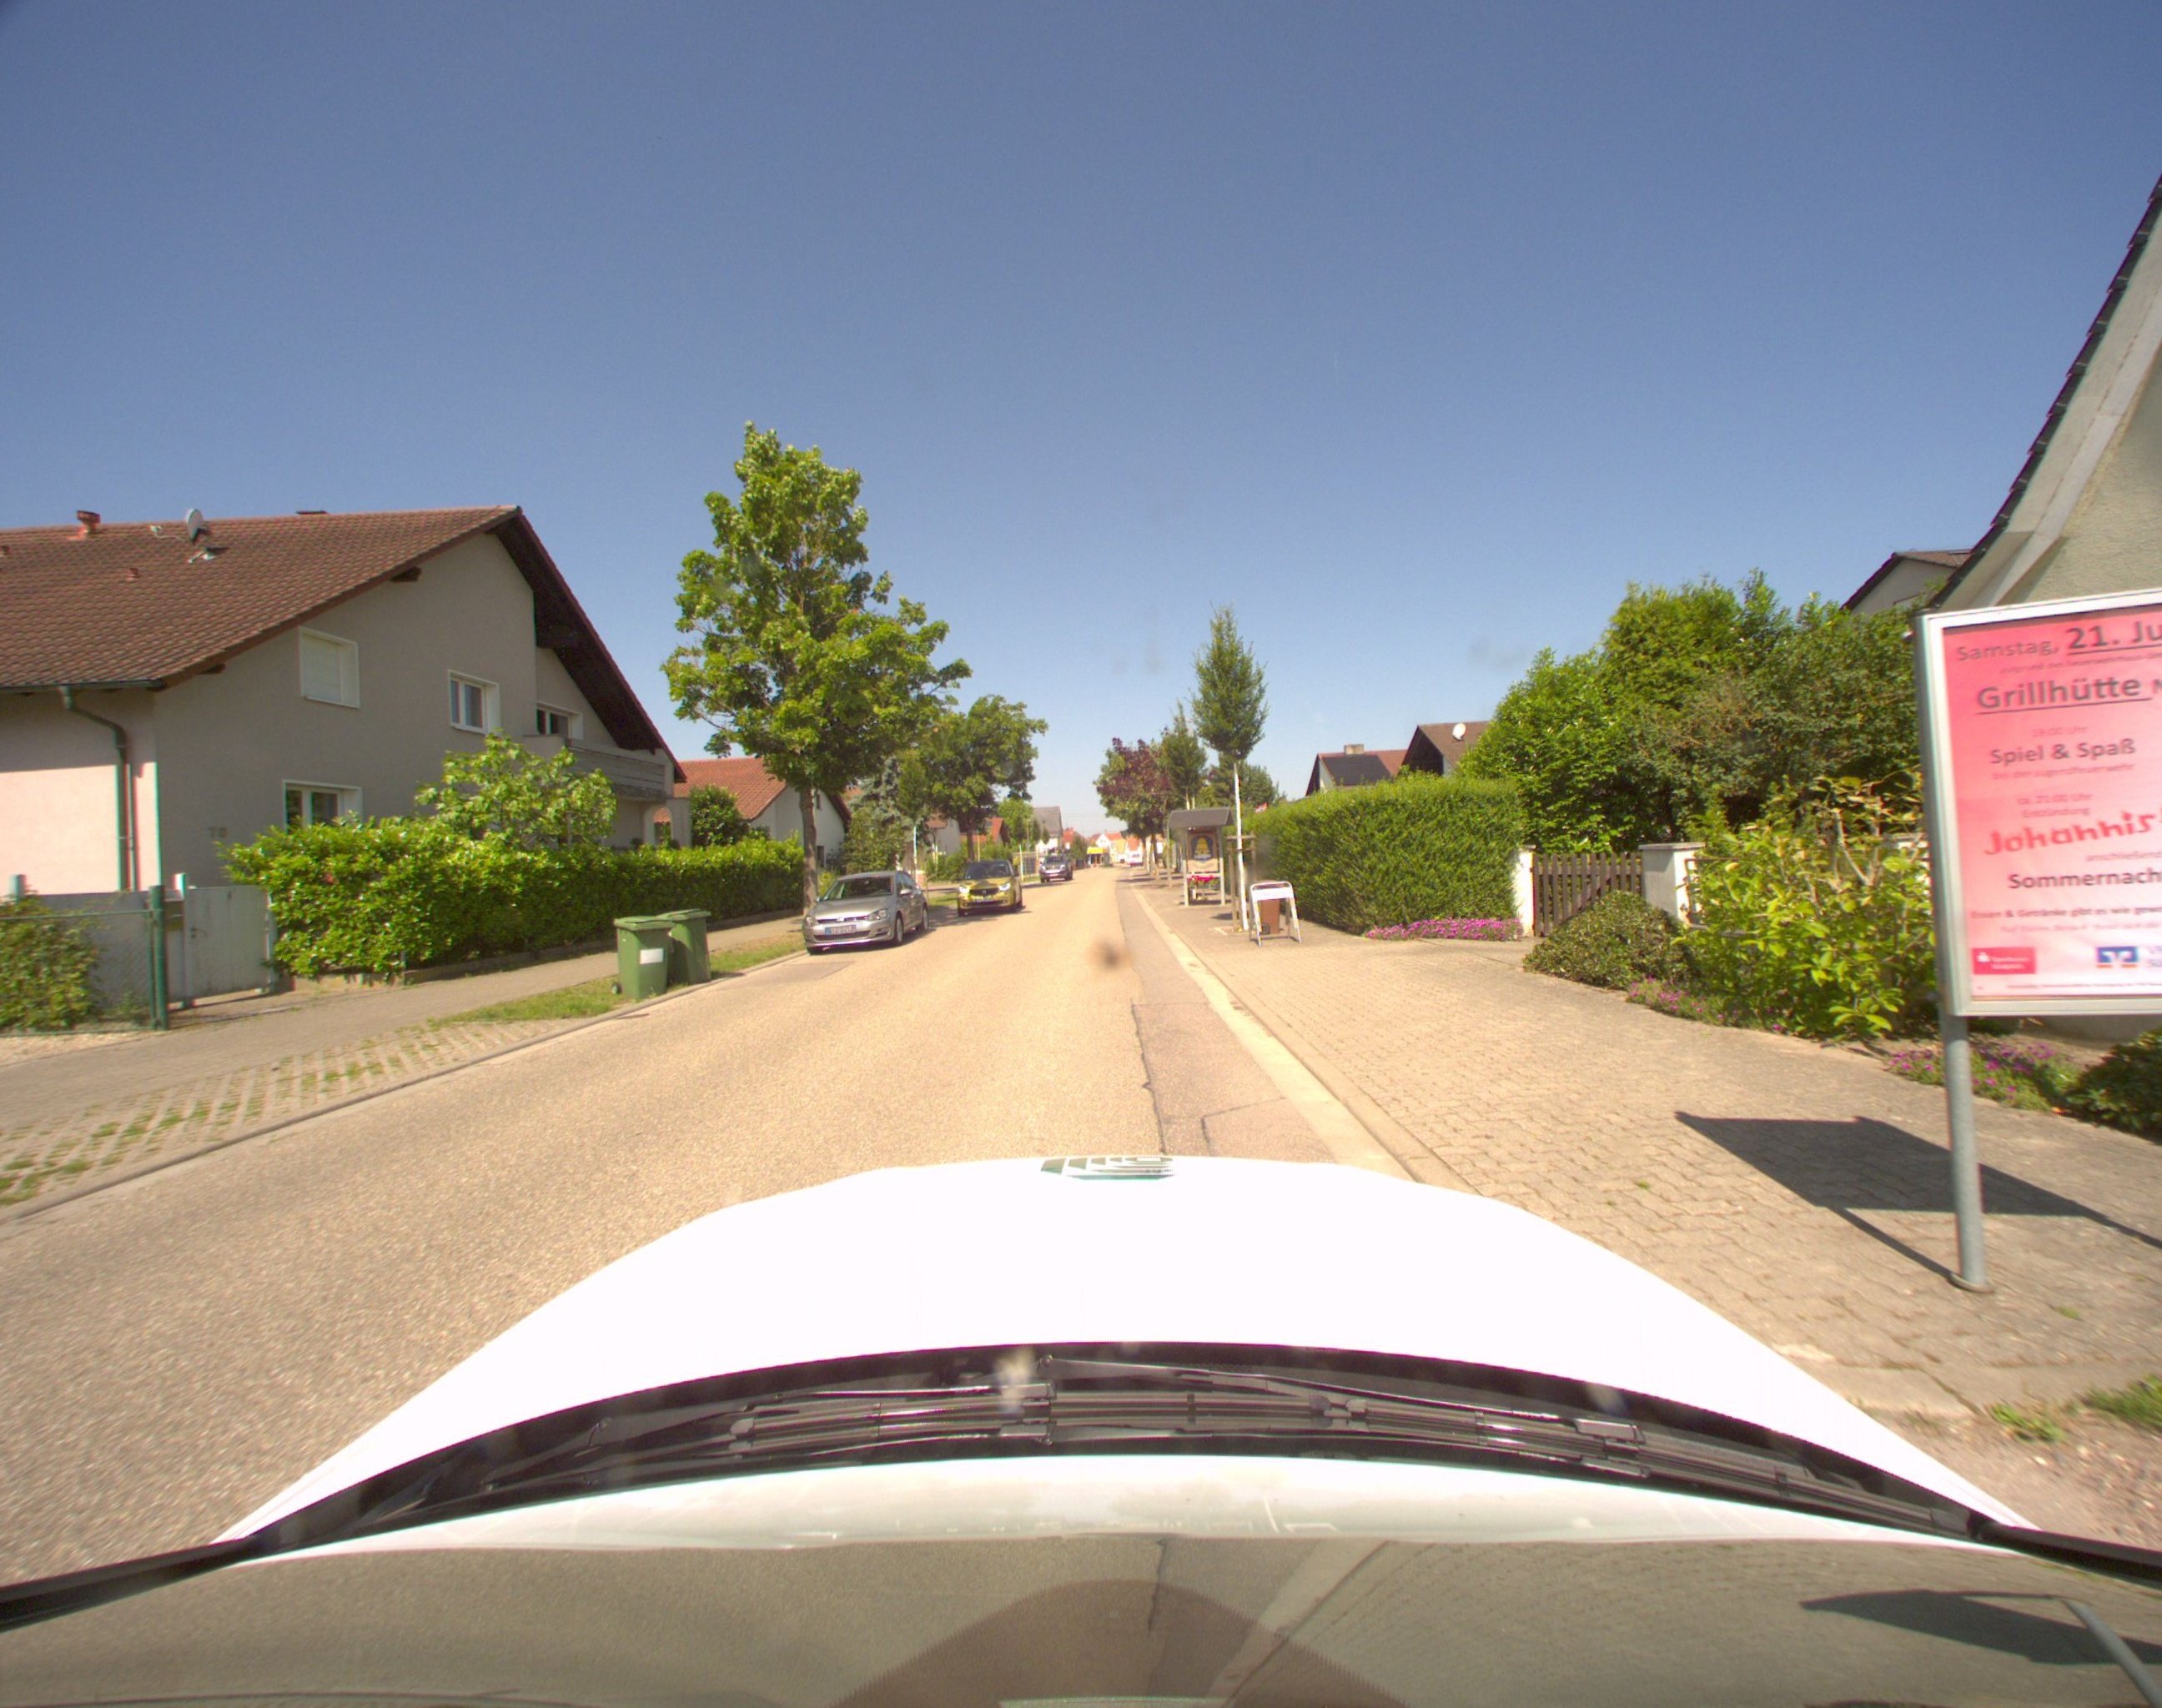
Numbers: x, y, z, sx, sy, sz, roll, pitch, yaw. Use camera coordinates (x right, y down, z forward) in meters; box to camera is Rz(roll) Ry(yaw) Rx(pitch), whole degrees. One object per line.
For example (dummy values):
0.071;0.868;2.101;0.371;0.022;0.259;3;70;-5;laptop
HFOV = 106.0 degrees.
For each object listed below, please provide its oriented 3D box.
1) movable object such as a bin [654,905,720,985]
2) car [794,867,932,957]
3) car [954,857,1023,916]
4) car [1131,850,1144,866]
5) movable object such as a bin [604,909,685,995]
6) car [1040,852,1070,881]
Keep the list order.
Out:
-5.714;1.309;11.836;0.571;1.079;0.601;-3;-1;14;movable object such as a bin
-4.273;1.077;16.619;1.642;1.423;4.079;-5;0;-1;car
-2.709;0.919;24.460;1.661;1.524;3.440;-4;0;-2;car
9.206;0.615;132.177;1.729;2.432;4.382;-3;0;6;car
-5.940;1.323;11.105;0.706;1.079;0.643;-3;-1;26;movable object such as a bin
-1.699;0.800;54.068;1.830;1.753;3.795;-3;0;-1;car
